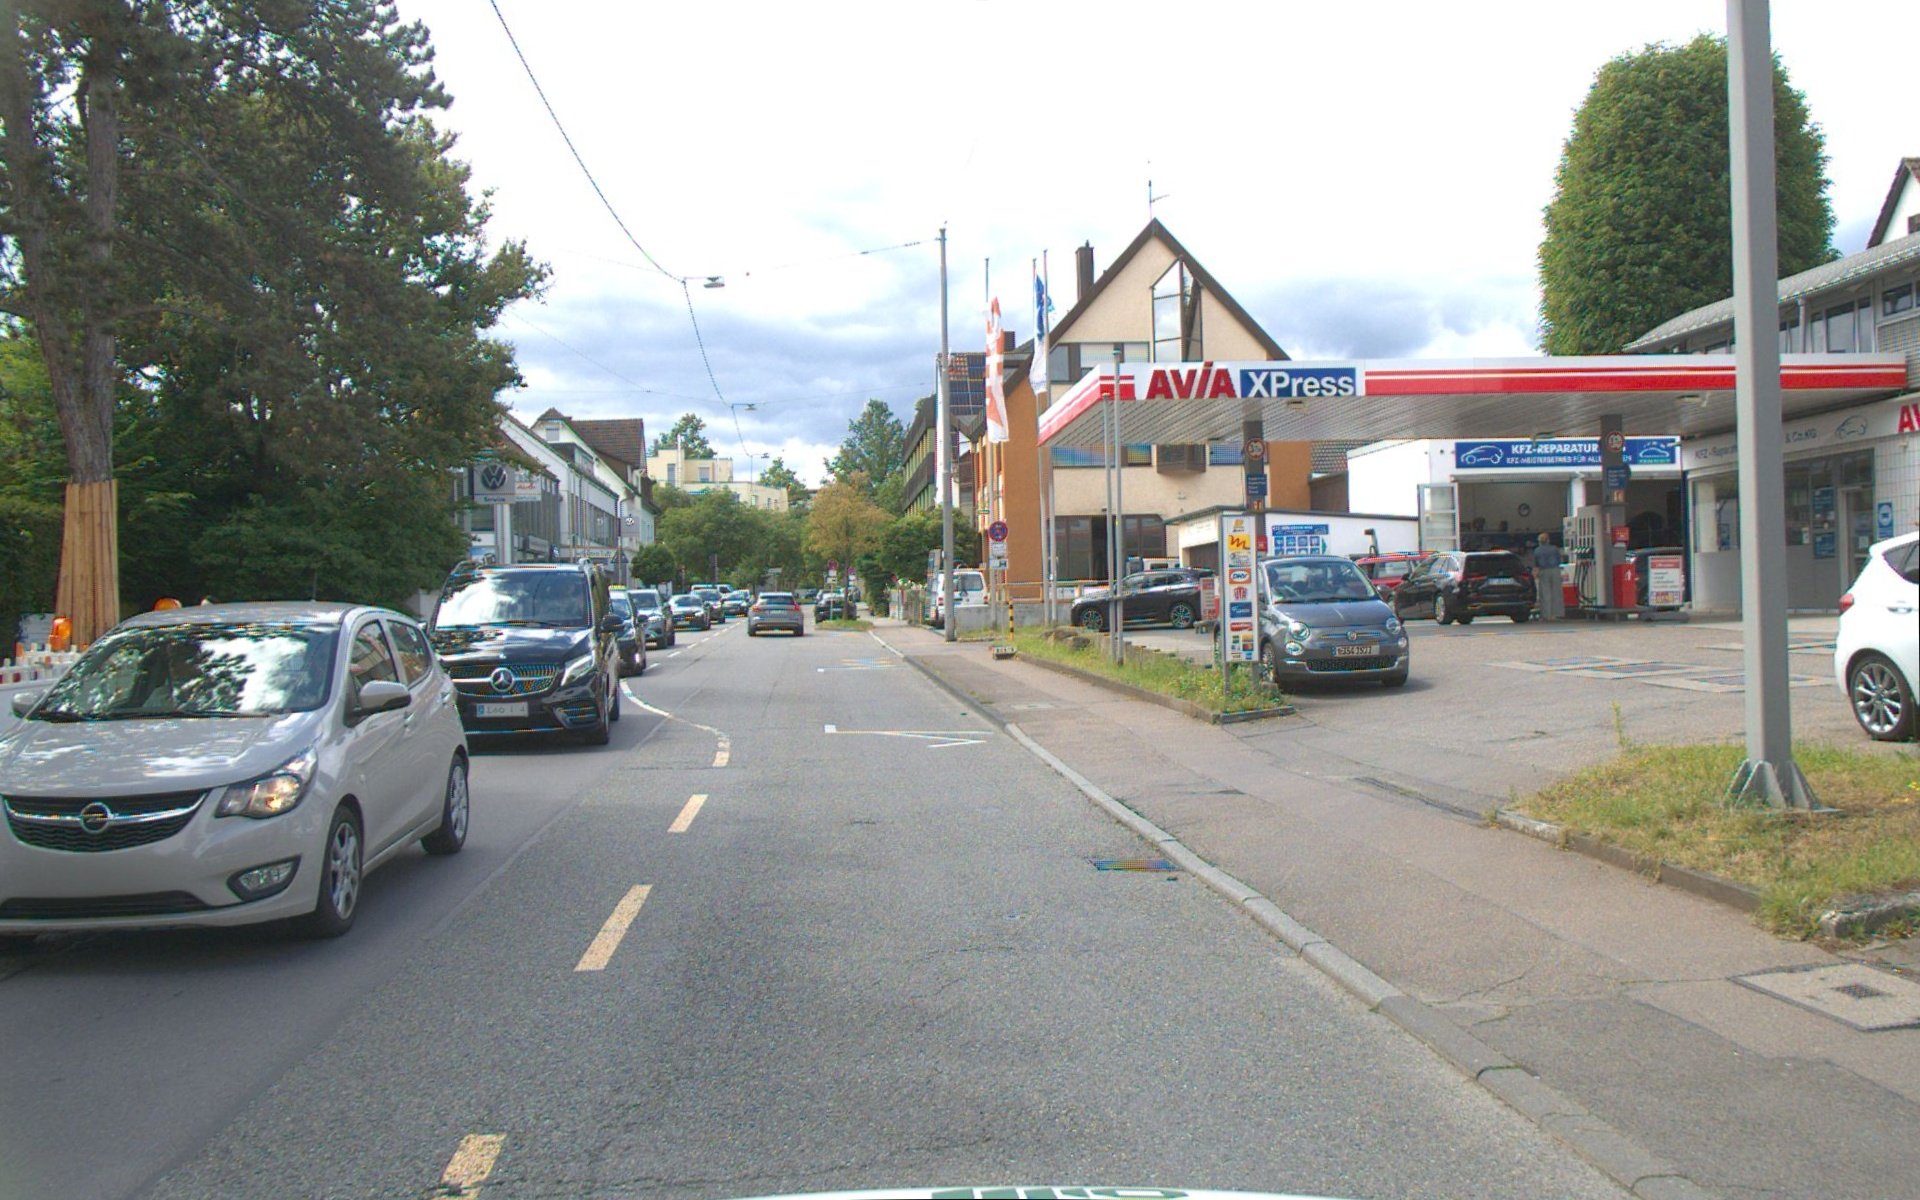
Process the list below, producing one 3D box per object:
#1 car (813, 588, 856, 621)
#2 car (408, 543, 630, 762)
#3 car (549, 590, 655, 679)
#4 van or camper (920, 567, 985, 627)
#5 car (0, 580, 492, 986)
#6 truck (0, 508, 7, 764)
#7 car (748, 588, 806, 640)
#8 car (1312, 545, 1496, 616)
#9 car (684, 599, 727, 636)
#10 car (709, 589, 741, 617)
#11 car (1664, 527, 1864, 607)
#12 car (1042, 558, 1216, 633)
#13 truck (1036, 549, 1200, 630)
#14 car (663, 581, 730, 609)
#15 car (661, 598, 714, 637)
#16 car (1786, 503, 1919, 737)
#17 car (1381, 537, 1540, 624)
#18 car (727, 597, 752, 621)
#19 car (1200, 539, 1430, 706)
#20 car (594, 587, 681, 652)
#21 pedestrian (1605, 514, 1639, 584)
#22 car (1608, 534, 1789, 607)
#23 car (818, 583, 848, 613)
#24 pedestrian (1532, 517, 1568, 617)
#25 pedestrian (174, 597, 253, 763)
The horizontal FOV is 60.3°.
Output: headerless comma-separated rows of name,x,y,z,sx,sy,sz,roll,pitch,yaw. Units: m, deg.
car,-6.001,0.204,78.849,1.946,1.473,4.746,-2,0,-5
car,-4.602,0.456,17.911,1.874,1.986,4.901,-2,1,-10
car,-6.976,0.616,32.214,1.833,1.554,4.513,-2,0,-13
van or camper,-0.313,-0.082,59.228,1.831,2.067,4.541,0,-1,-6
car,-3.527,0.729,8.265,1.583,1.550,3.566,-2,0,-5
truck,-10.157,0.320,12.919,2.260,2.462,6.087,0,-1,-4
car,-6.369,0.507,57.228,1.919,1.550,4.321,-1,-3,-7
car,11.431,-0.479,42.762,4.495,1.747,1.827,0,-1,14
car,-12.280,0.833,80.050,1.796,1.658,4.315,-2,1,-6
car,-13.870,0.174,97.731,1.797,1.550,4.163,-2,0,-8
car,18.228,-0.731,37.590,3.672,1.485,1.712,-3,-3,-7
car,4.491,-0.106,44.157,4.225,1.658,1.633,-4,1,30
truck,5.144,-0.377,54.316,4.989,2.500,2.355,-1,1,-6
car,-22.378,-0.437,140.413,5.101,2.028,2.110,-3,0,12
car,-10.962,0.675,66.719,1.706,1.454,4.519,-2,0,-5
car,7.252,0.051,10.261,1.604,1.554,4.196,-5,0,-8
car,10.239,-0.341,34.176,1.598,1.637,4.567,-1,-1,-4
car,-15.616,0.616,117.304,1.657,1.607,3.794,-2,0,-6
car,4.193,0.238,20.200,1.584,1.622,4.157,-7,0,-2
car,-9.051,0.502,46.747,1.829,1.646,4.531,-2,1,-4
pedestrian,18.034,-1.387,45.070,0.662,1.877,0.681,-1,-1,41
car,17.990,-0.742,40.359,3.669,1.465,1.621,-4,4,-3
car,-7.526,-0.103,98.036,1.656,1.695,4.458,-2,0,-4
pedestrian,11.762,-0.652,32.980,0.574,1.969,0.539,-1,-1,31
pedestrian,-7.503,0.789,16.623,0.561,1.629,0.534,-1,-1,39
